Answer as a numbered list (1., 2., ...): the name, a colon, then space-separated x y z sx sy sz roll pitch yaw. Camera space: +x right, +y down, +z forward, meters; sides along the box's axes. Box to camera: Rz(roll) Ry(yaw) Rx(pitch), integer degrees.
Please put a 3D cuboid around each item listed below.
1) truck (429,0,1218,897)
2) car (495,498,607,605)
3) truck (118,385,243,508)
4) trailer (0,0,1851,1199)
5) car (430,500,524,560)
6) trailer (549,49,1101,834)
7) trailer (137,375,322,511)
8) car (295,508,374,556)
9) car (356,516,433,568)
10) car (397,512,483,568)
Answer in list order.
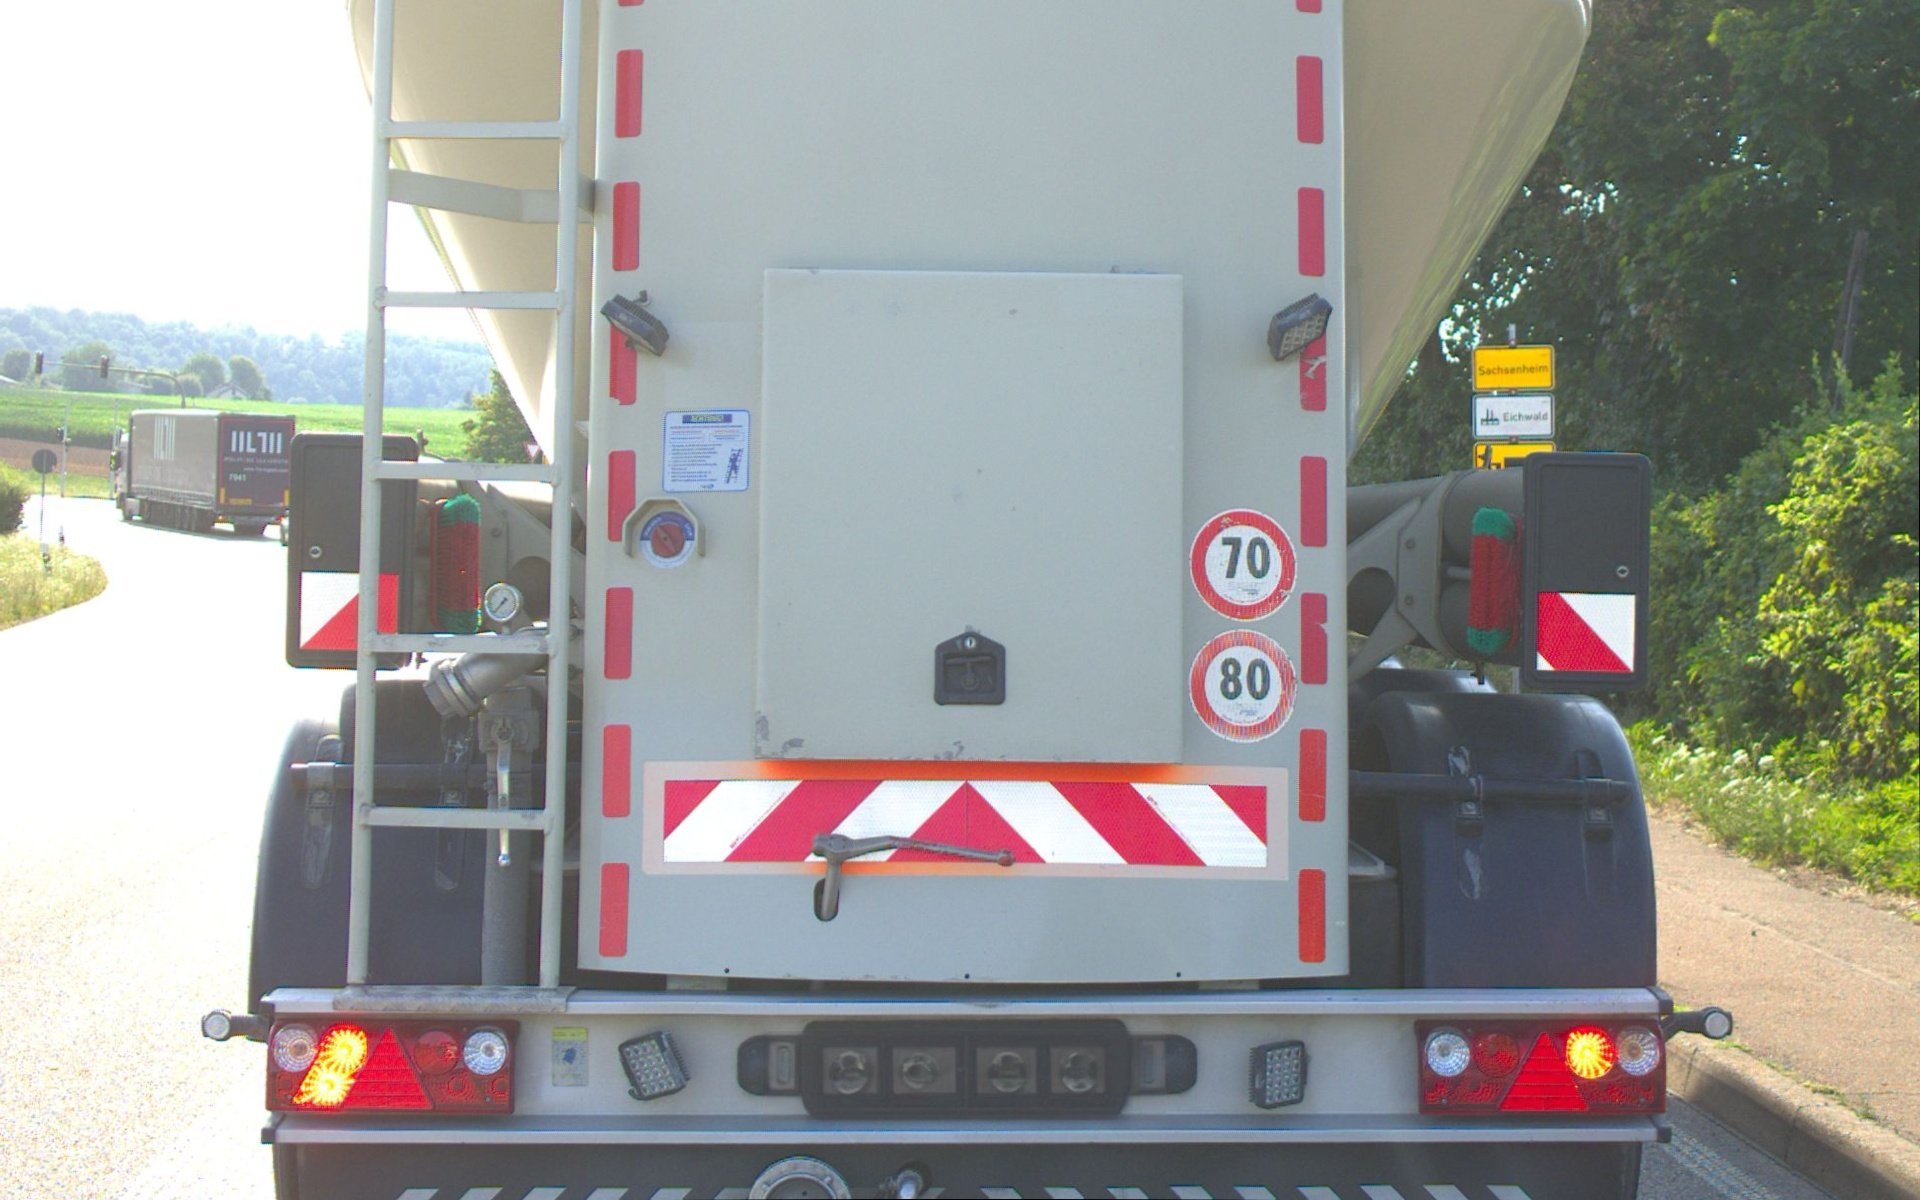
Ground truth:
1. truck: -0.618 -0.930 14.882 2.909 3.992 4.060 1 1 -3
2. car: -8.015 -0.968 67.135 1.861 2.007 3.720 1 1 -11
3. truck: -28.874 -5.636 127.110 3.375 4.335 5.707 2 1 -24
4. trailer: -0.342 -0.813 10.300 2.909 3.992 9.931 1 1 -3
5. car: -11.465 -1.666 81.461 1.580 1.336 3.427 2 1 -18
6. trailer: -0.813 -1.028 26.381 2.955 4.300 14.176 2 1 0
7. trailer: -25.572 -5.383 119.547 3.375 4.335 14.297 2 1 -24
8. car: -18.598 -2.030 102.107 1.769 1.201 3.427 -6 4 -18
9. car: -15.776 -1.629 95.795 1.580 1.336 3.427 2 1 -18
10. car: -13.271 -1.532 87.586 1.580 1.336 3.427 2 1 -18
